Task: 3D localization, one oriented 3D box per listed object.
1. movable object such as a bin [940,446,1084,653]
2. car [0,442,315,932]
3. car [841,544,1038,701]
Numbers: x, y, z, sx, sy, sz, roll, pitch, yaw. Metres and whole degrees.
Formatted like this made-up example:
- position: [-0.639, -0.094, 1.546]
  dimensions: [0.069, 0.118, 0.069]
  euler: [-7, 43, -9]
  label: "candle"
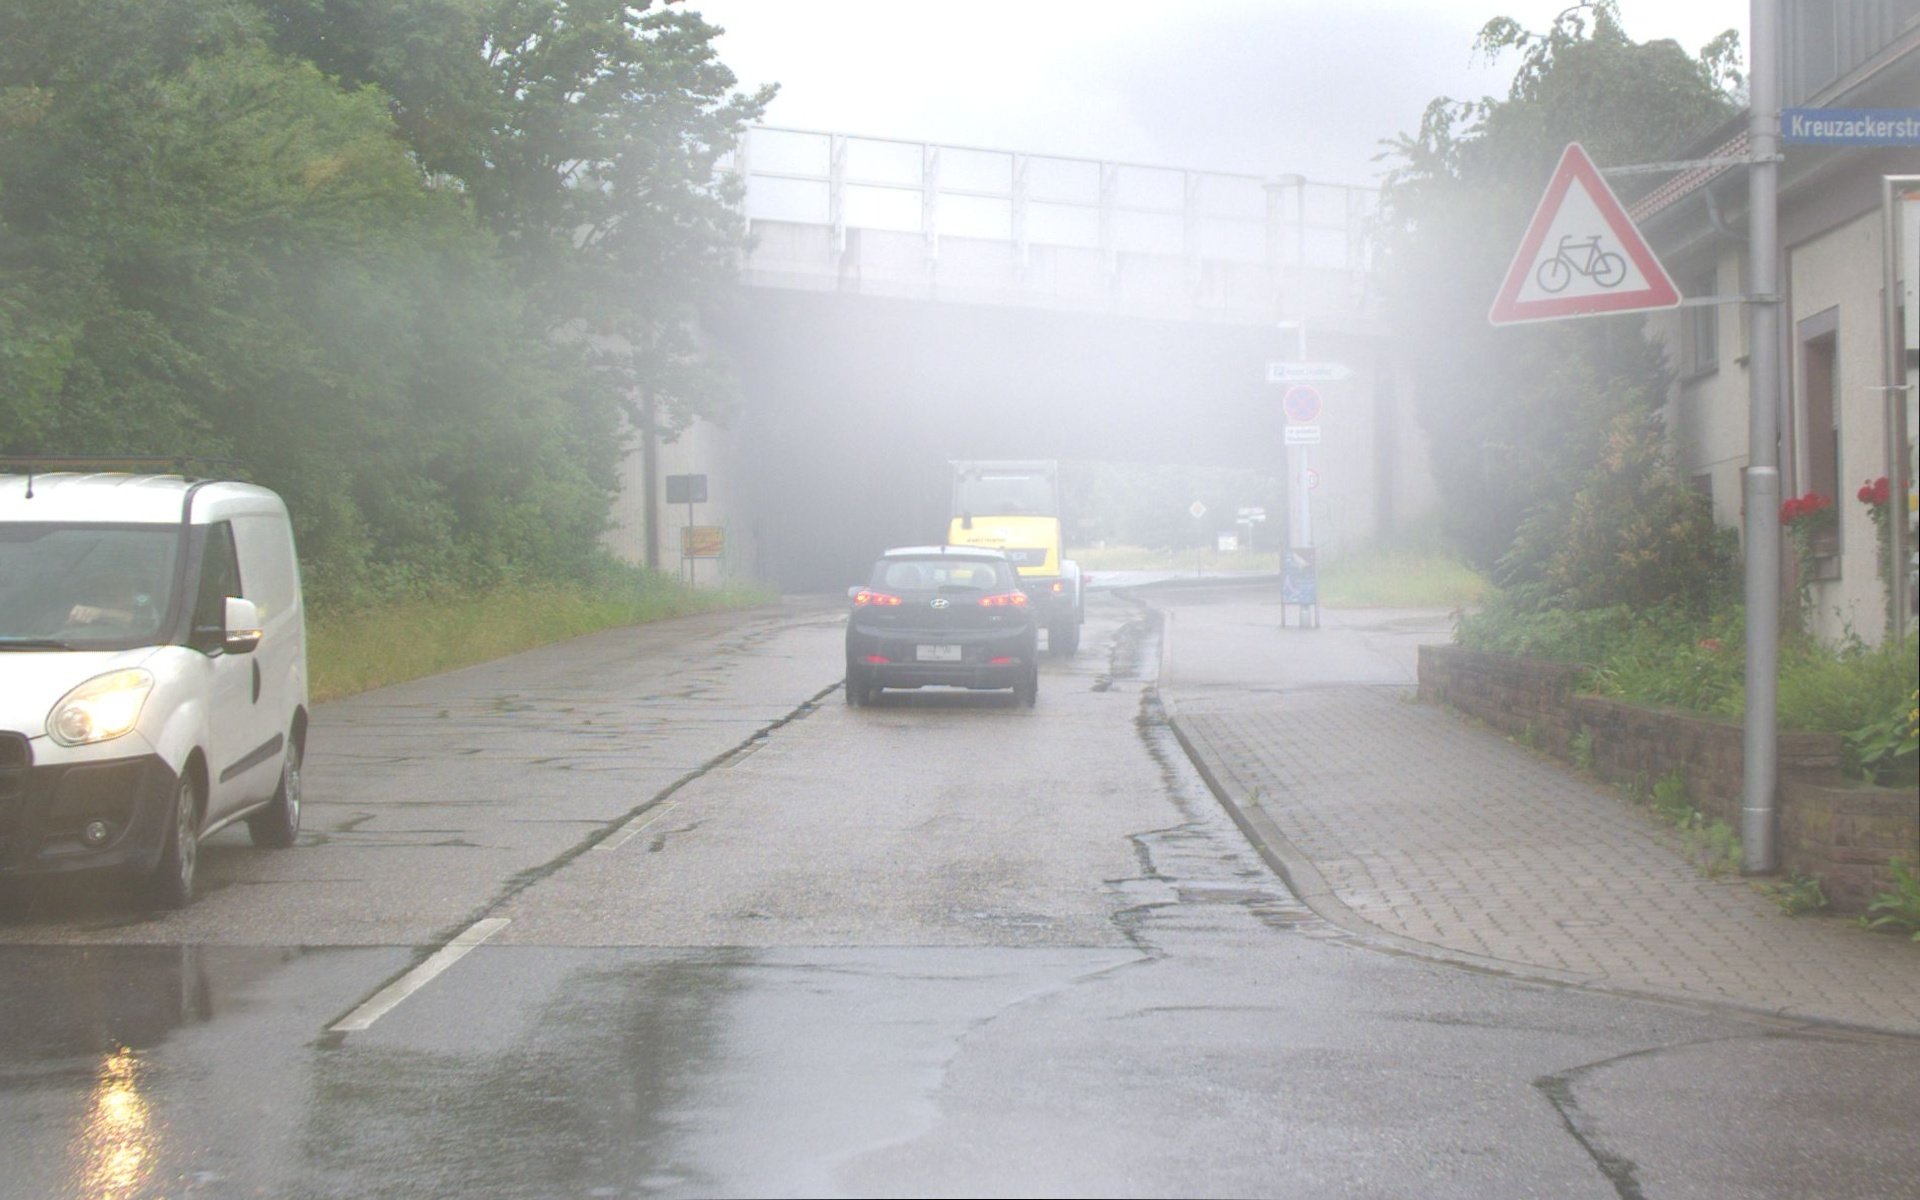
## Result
- position: [0.690, -0.657, 44.355]
  dimensions: [1.761, 2.539, 4.239]
  euler: [0, 1, 1]
  label: "movable object such as a bin"
- position: [-4.028, 0.288, 14.940]
  dimensions: [1.823, 1.825, 4.308]
  euler: [0, 1, -3]
  label: "car"
- position: [-0.132, 0.163, 32.239]
  dimensions: [1.708, 1.373, 4.000]
  euler: [0, 1, 2]
  label: "car"
